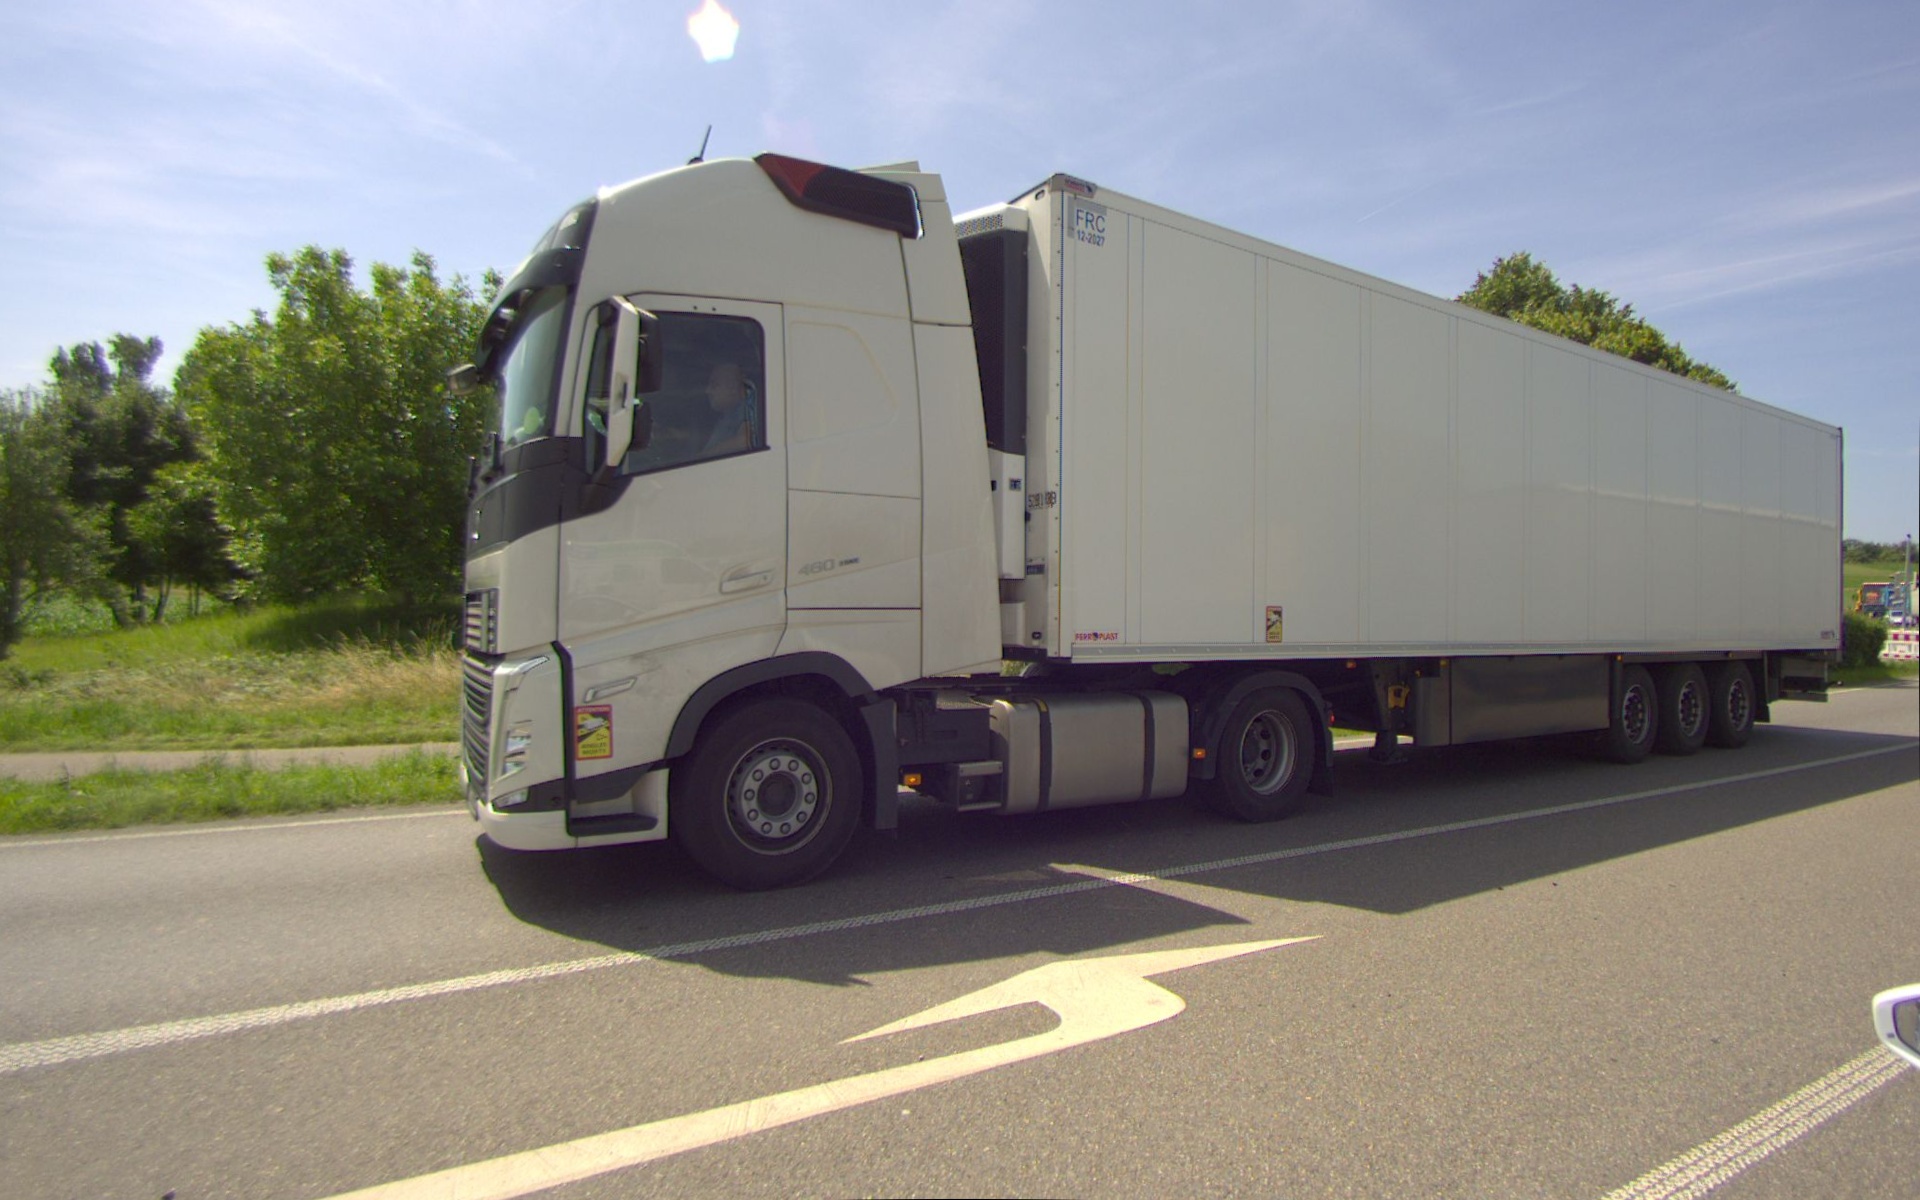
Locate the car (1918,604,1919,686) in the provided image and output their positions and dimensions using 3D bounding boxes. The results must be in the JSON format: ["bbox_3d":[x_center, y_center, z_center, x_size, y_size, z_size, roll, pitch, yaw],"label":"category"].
[{"bbox_3d":[24.714,1.063,23.986,5.092,1.890,1.859,1,0,-37],"label":"car"}]

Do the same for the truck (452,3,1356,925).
[{"bbox_3d":[-0.263,-0.535,7.026,5.641,3.996,2.763,1,0,-31],"label":"truck"}]

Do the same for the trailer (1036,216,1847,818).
[{"bbox_3d":[6.264,-0.443,11.325,11.538,4.156,2.761,2,-1,-34],"label":"trailer"}]

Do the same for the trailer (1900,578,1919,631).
[{"bbox_3d":[76.099,0.354,77.914,2.532,4.084,13.551,0,0,34],"label":"trailer"}]
